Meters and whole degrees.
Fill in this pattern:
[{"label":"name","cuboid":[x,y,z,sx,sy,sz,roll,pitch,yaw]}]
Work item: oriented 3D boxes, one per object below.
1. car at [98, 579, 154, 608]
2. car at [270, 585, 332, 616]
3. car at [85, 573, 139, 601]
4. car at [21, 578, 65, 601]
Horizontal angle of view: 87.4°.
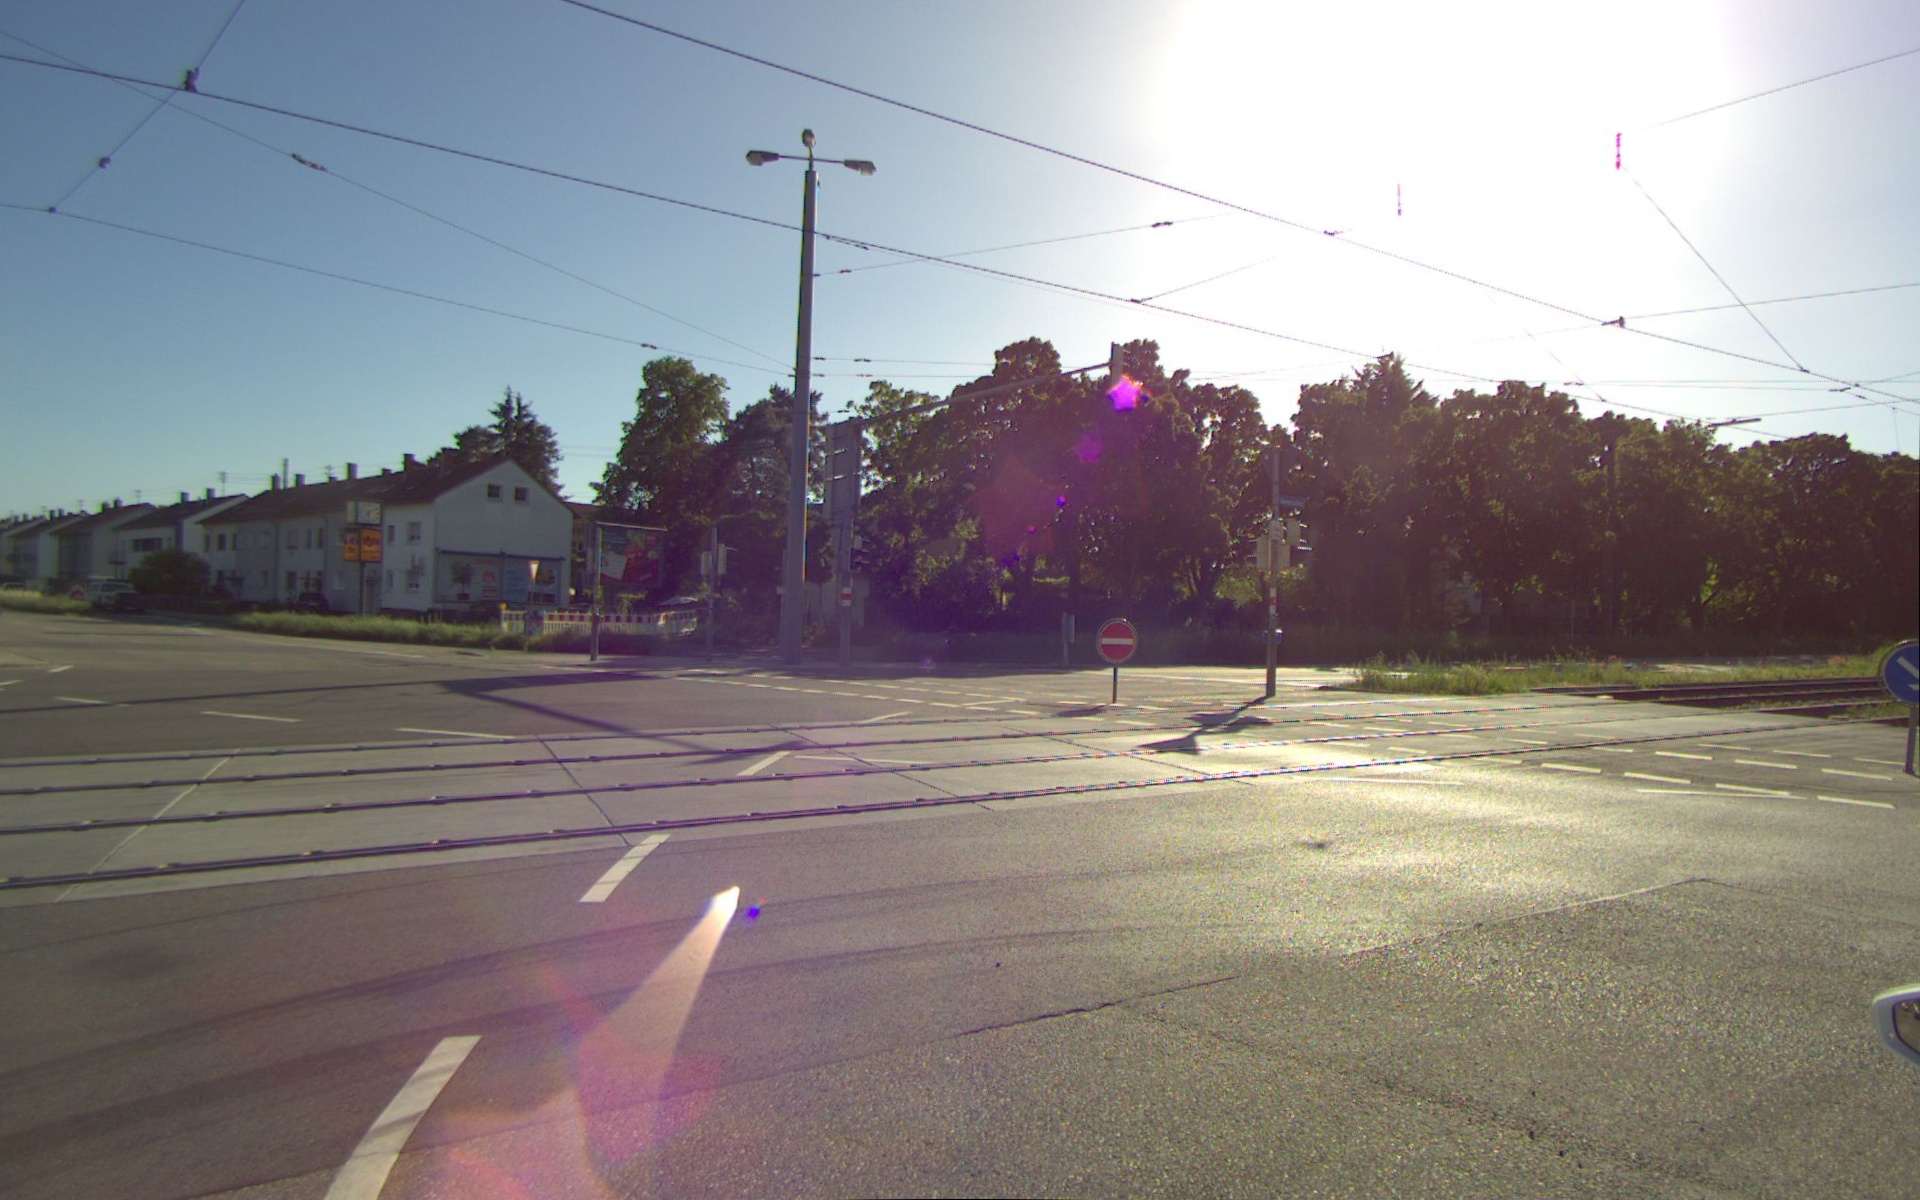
[{"label":"car","cuboid":[-54.851,-0.408,66.031,3.936,1.785,1.992,2,0,37]},{"label":"car","cuboid":[-40.721,0.054,62.050,3.937,1.785,1.992,2,0,38]},{"label":"car","cuboid":[-58.314,-0.929,69.043,3.936,1.785,1.992,2,0,37]},{"label":"car","cuboid":[-75.237,-0.867,82.422,3.936,1.785,1.992,1,0,37]}]
